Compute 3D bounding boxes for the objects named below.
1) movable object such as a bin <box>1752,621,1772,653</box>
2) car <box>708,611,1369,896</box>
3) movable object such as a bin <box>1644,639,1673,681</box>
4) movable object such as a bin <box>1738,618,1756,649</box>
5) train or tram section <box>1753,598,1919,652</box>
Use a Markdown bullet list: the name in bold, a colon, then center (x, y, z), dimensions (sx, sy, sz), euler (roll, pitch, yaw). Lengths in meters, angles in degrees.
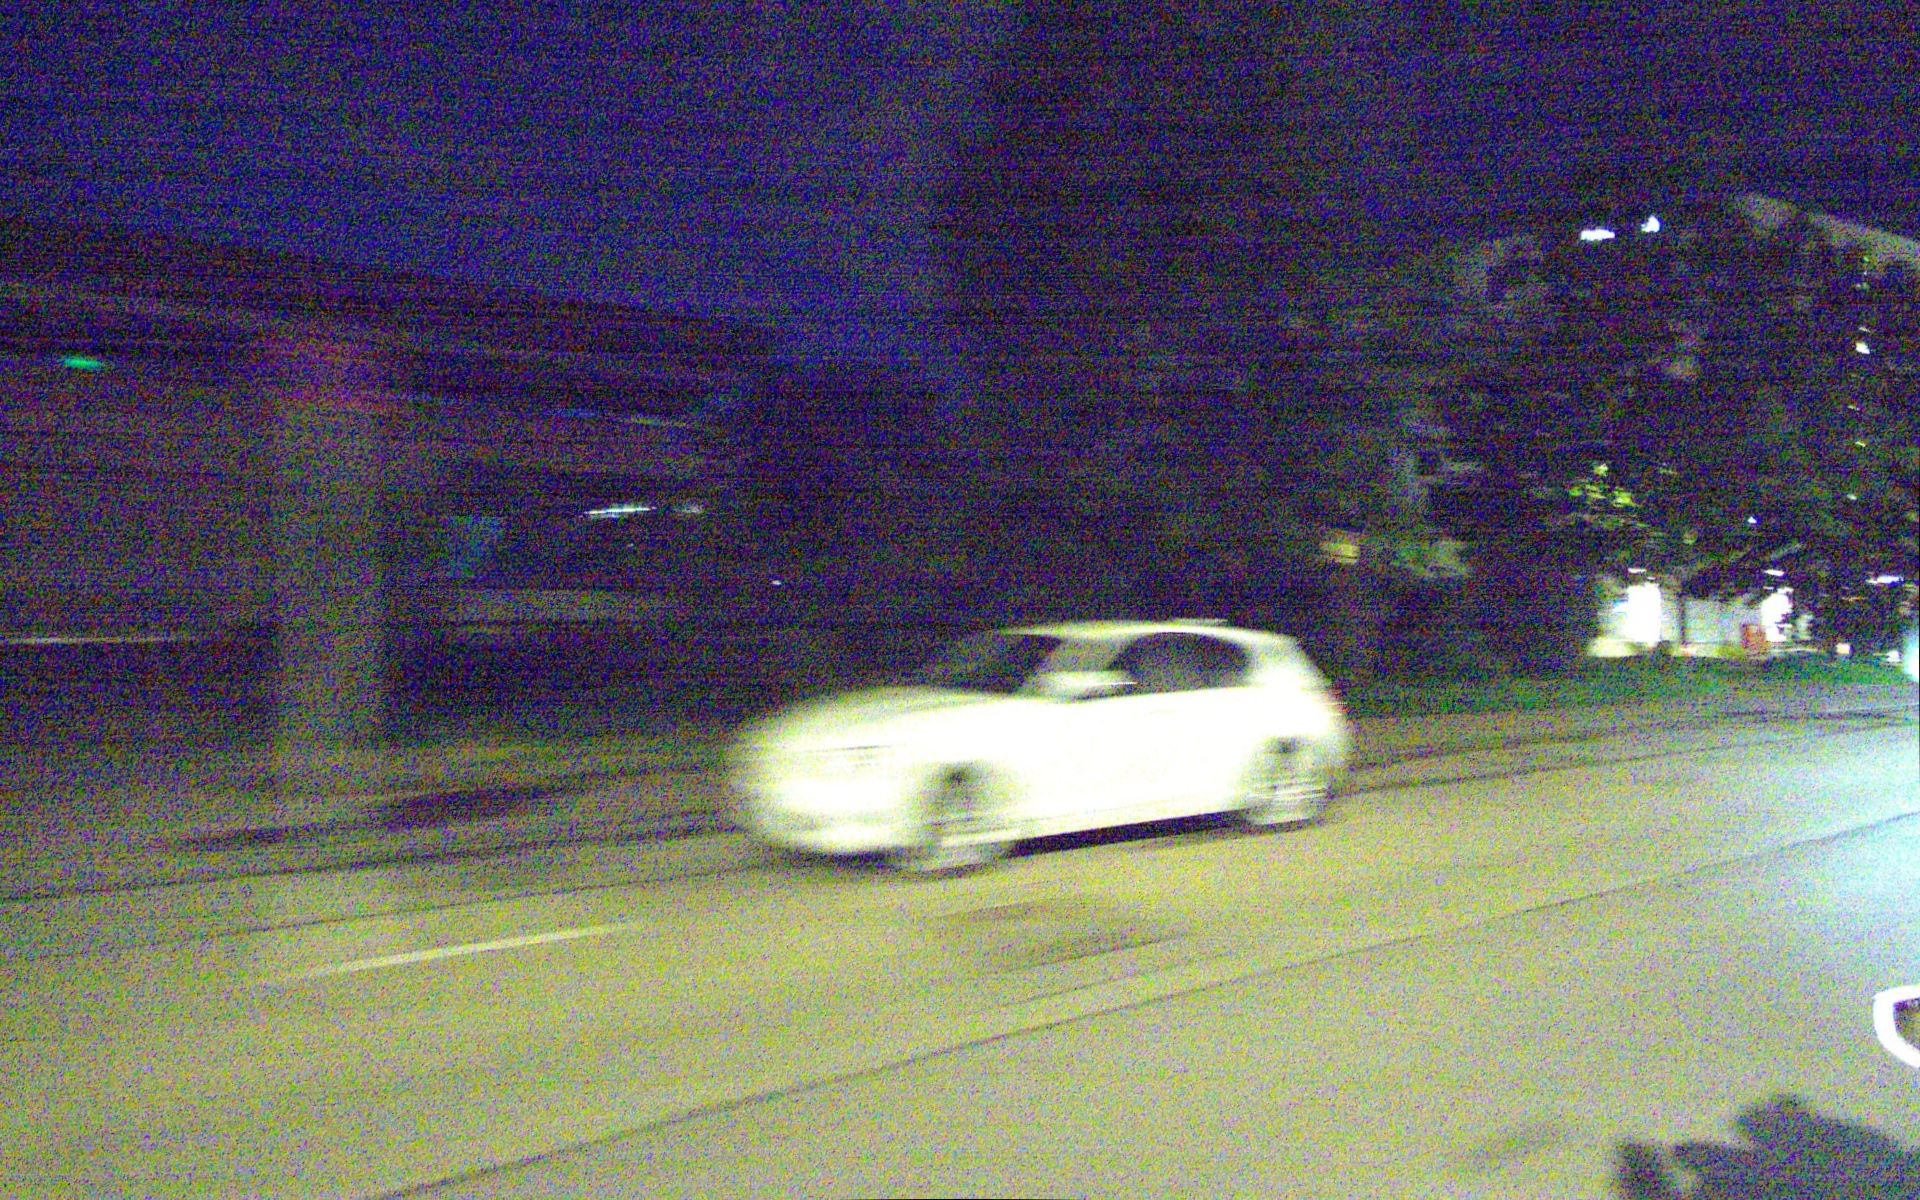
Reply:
- **movable object such as a bin**: center (36.933, 1.685, 46.272), dimensions (0.798, 1.471, 0.439), euler (0, 0, -27)
- **car**: center (0.645, 0.816, 6.962), dimensions (4.288, 1.422, 1.901), euler (1, -1, -31)
- **movable object such as a bin**: center (22.245, 1.896, 32.014), dimensions (0.608, 1.324, 0.569), euler (-1, -2, 22)
- **movable object such as a bin**: center (36.051, 1.524, 45.996), dimensions (0.723, 1.389, 0.354), euler (-2, 0, -29)
- **train or tram section**: center (69.598, 1.837, 73.468), dimensions (2.883, 3.874, 19.124), euler (1, -1, -24)
